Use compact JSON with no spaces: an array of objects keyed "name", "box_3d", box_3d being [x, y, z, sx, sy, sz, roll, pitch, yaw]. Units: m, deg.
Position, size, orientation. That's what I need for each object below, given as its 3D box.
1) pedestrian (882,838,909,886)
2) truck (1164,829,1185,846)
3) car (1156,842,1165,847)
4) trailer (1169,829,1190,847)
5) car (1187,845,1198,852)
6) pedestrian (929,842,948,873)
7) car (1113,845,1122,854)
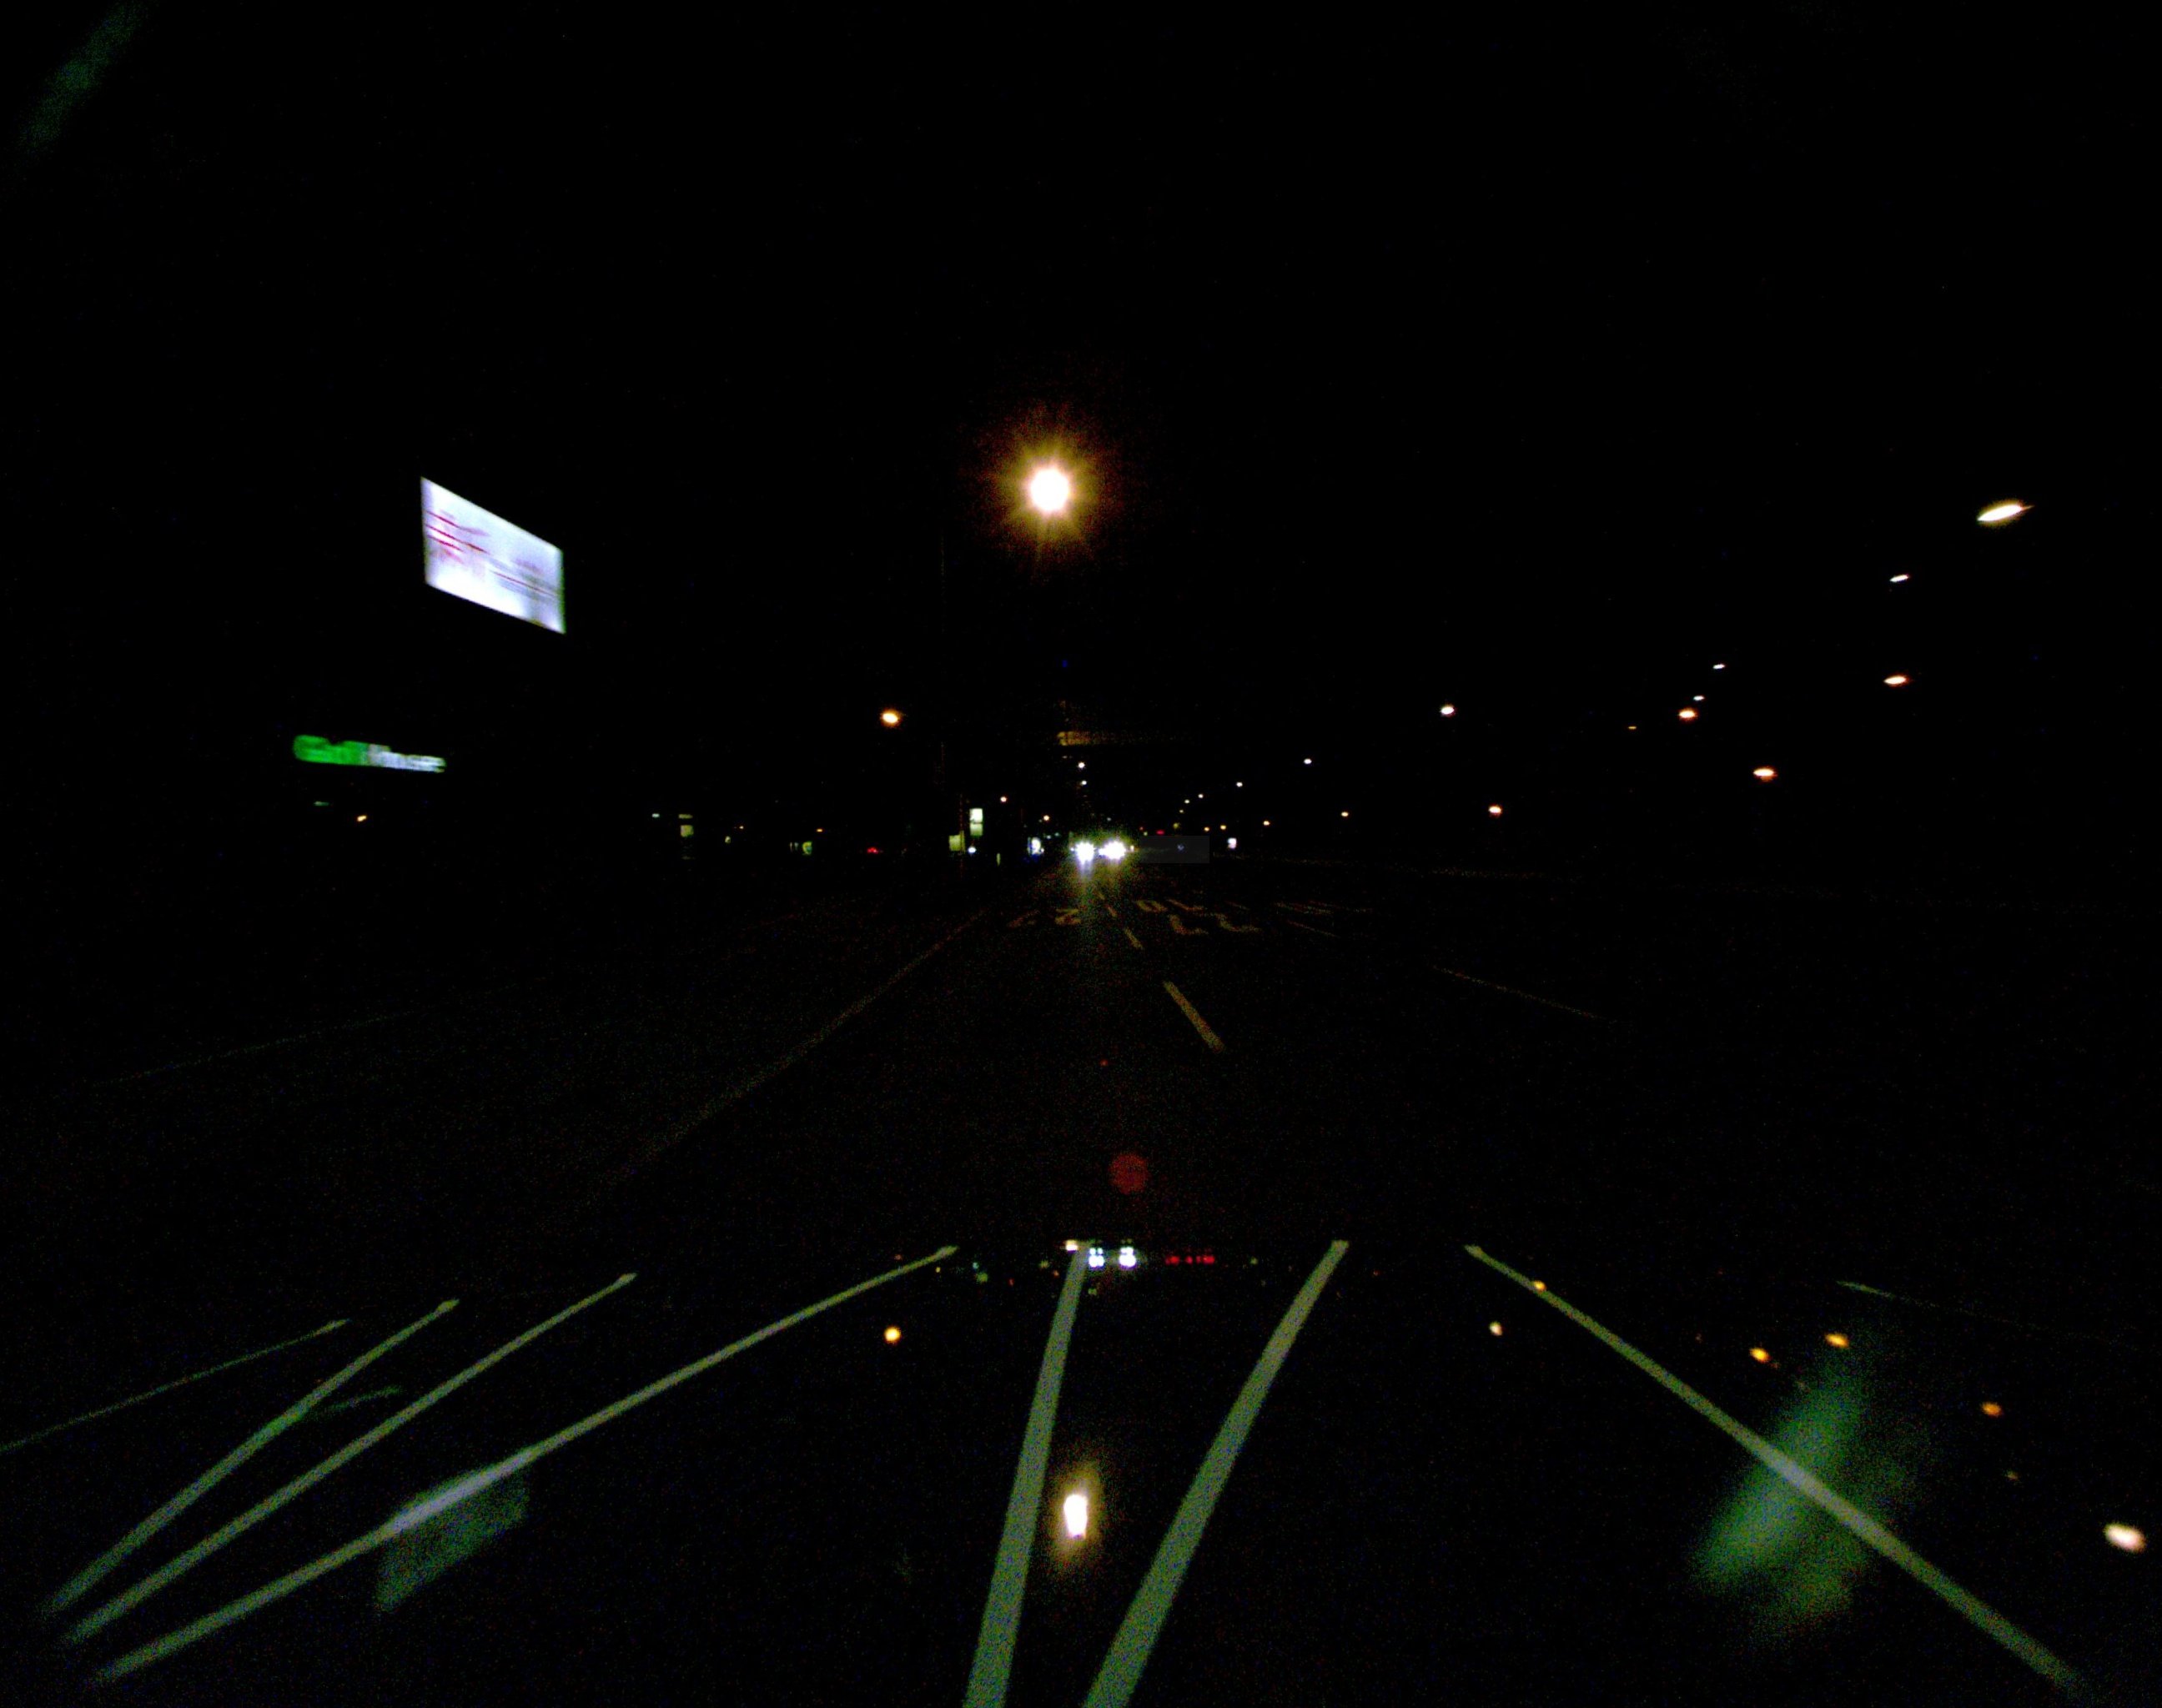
[{"name":"pedestrian","box_3d":[-7.652,0.319,31.369,0.806,1.902,0.794,2,2,9]},{"name":"truck","box_3d":[22.708,-3.968,185.174,3.690,3.932,10.418,-2,2,0]},{"name":"car","box_3d":[21.342,-2.547,204.182,1.809,1.490,4.083,-1,2,-1]},{"name":"trailer","box_3d":[22.749,-3.734,175.773,3.705,3.967,8.392,-2,2,0]},{"name":"car","box_3d":[25.857,-1.261,176.217,1.991,1.473,4.203,1,1,0]},{"name":"pedestrian","box_3d":[-8.074,0.201,43.055,0.855,1.697,0.957,2,2,0]},{"name":"car","box_3d":[9.005,-1.175,187.402,1.794,2.002,4.001,-2,2,6]}]
